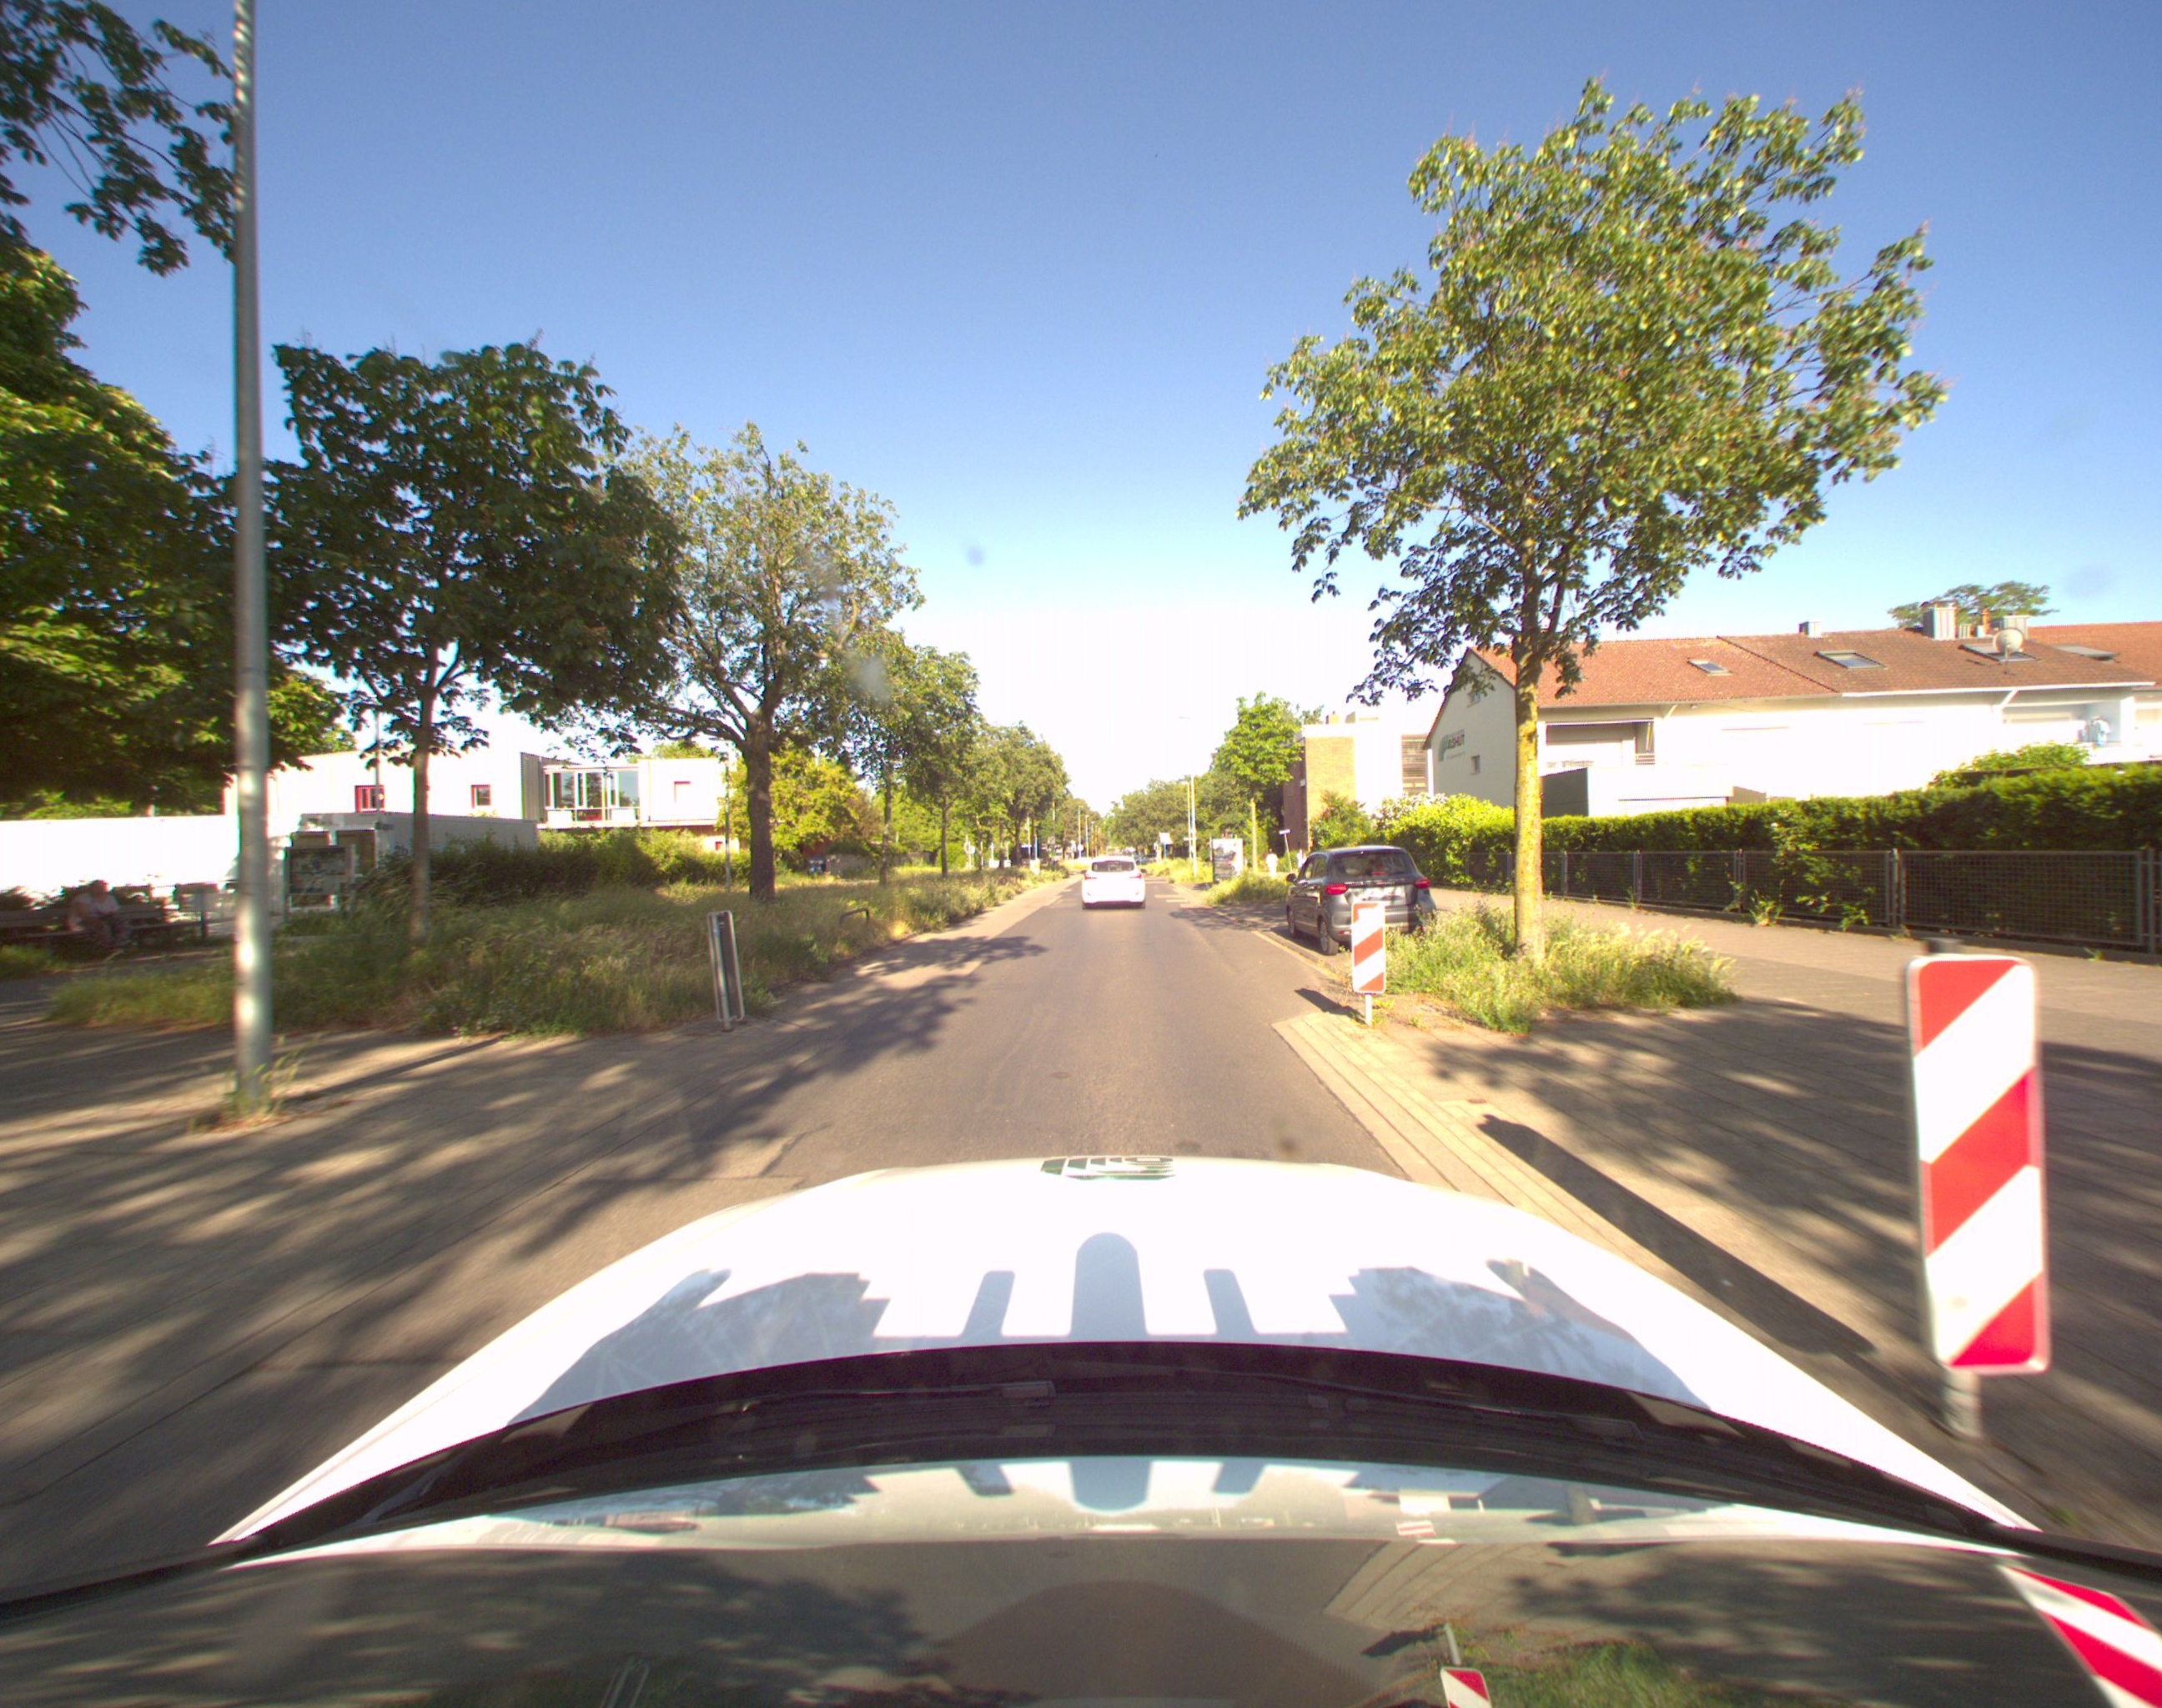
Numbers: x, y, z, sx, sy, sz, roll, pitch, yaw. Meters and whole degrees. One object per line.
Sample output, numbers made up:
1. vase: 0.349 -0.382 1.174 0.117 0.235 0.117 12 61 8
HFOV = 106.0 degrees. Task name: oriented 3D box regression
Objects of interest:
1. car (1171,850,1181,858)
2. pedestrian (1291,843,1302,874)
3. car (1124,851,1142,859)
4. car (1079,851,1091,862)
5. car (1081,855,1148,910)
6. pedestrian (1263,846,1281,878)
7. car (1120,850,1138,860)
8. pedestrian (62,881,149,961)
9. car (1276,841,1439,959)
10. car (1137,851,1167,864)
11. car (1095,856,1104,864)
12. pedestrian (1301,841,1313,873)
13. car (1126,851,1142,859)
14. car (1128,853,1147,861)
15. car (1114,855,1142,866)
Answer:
1. car: 21.598 0.100 185.367 1.985 1.816 4.003 0 -1 3
2. pedestrian: 12.048 0.244 45.560 0.549 1.732 0.664 -1 -1 18
3. car: 12.773 0.144 201.105 4.285 1.908 1.864 0 -1 2
4. car: 0.742 0.462 146.201 1.985 1.815 4.003 0 1 3
5. car: 0.991 0.772 24.081 1.782 1.463 3.966 -1 0 2
6. pedestrian: 10.937 0.482 46.636 0.891 1.822 0.740 -1 -1 22
7. car: 10.326 0.203 173.834 3.804 2.098 1.864 0 -1 2
8. pedestrian: -14.818 1.009 12.380 0.635 1.157 0.522 2 -1 1
9. car: 4.332 0.653 13.300 1.487 1.574 3.603 -4 0 2
10. car: 10.608 0.527 121.736 4.478 1.783 1.857 -2 0 4
11. car: 4.461 1.336 194.352 1.985 1.816 4.003 -1 0 3
12. pedestrian: 12.594 0.179 45.388 0.601 1.732 0.642 -1 -1 18
13. car: 12.863 0.282 197.948 3.804 1.767 1.864 0 -1 2
14. car: 11.340 0.616 163.747 3.804 1.684 1.864 0 -1 2
15. car: 7.732 1.003 133.650 4.478 1.630 1.857 -2 0 4
